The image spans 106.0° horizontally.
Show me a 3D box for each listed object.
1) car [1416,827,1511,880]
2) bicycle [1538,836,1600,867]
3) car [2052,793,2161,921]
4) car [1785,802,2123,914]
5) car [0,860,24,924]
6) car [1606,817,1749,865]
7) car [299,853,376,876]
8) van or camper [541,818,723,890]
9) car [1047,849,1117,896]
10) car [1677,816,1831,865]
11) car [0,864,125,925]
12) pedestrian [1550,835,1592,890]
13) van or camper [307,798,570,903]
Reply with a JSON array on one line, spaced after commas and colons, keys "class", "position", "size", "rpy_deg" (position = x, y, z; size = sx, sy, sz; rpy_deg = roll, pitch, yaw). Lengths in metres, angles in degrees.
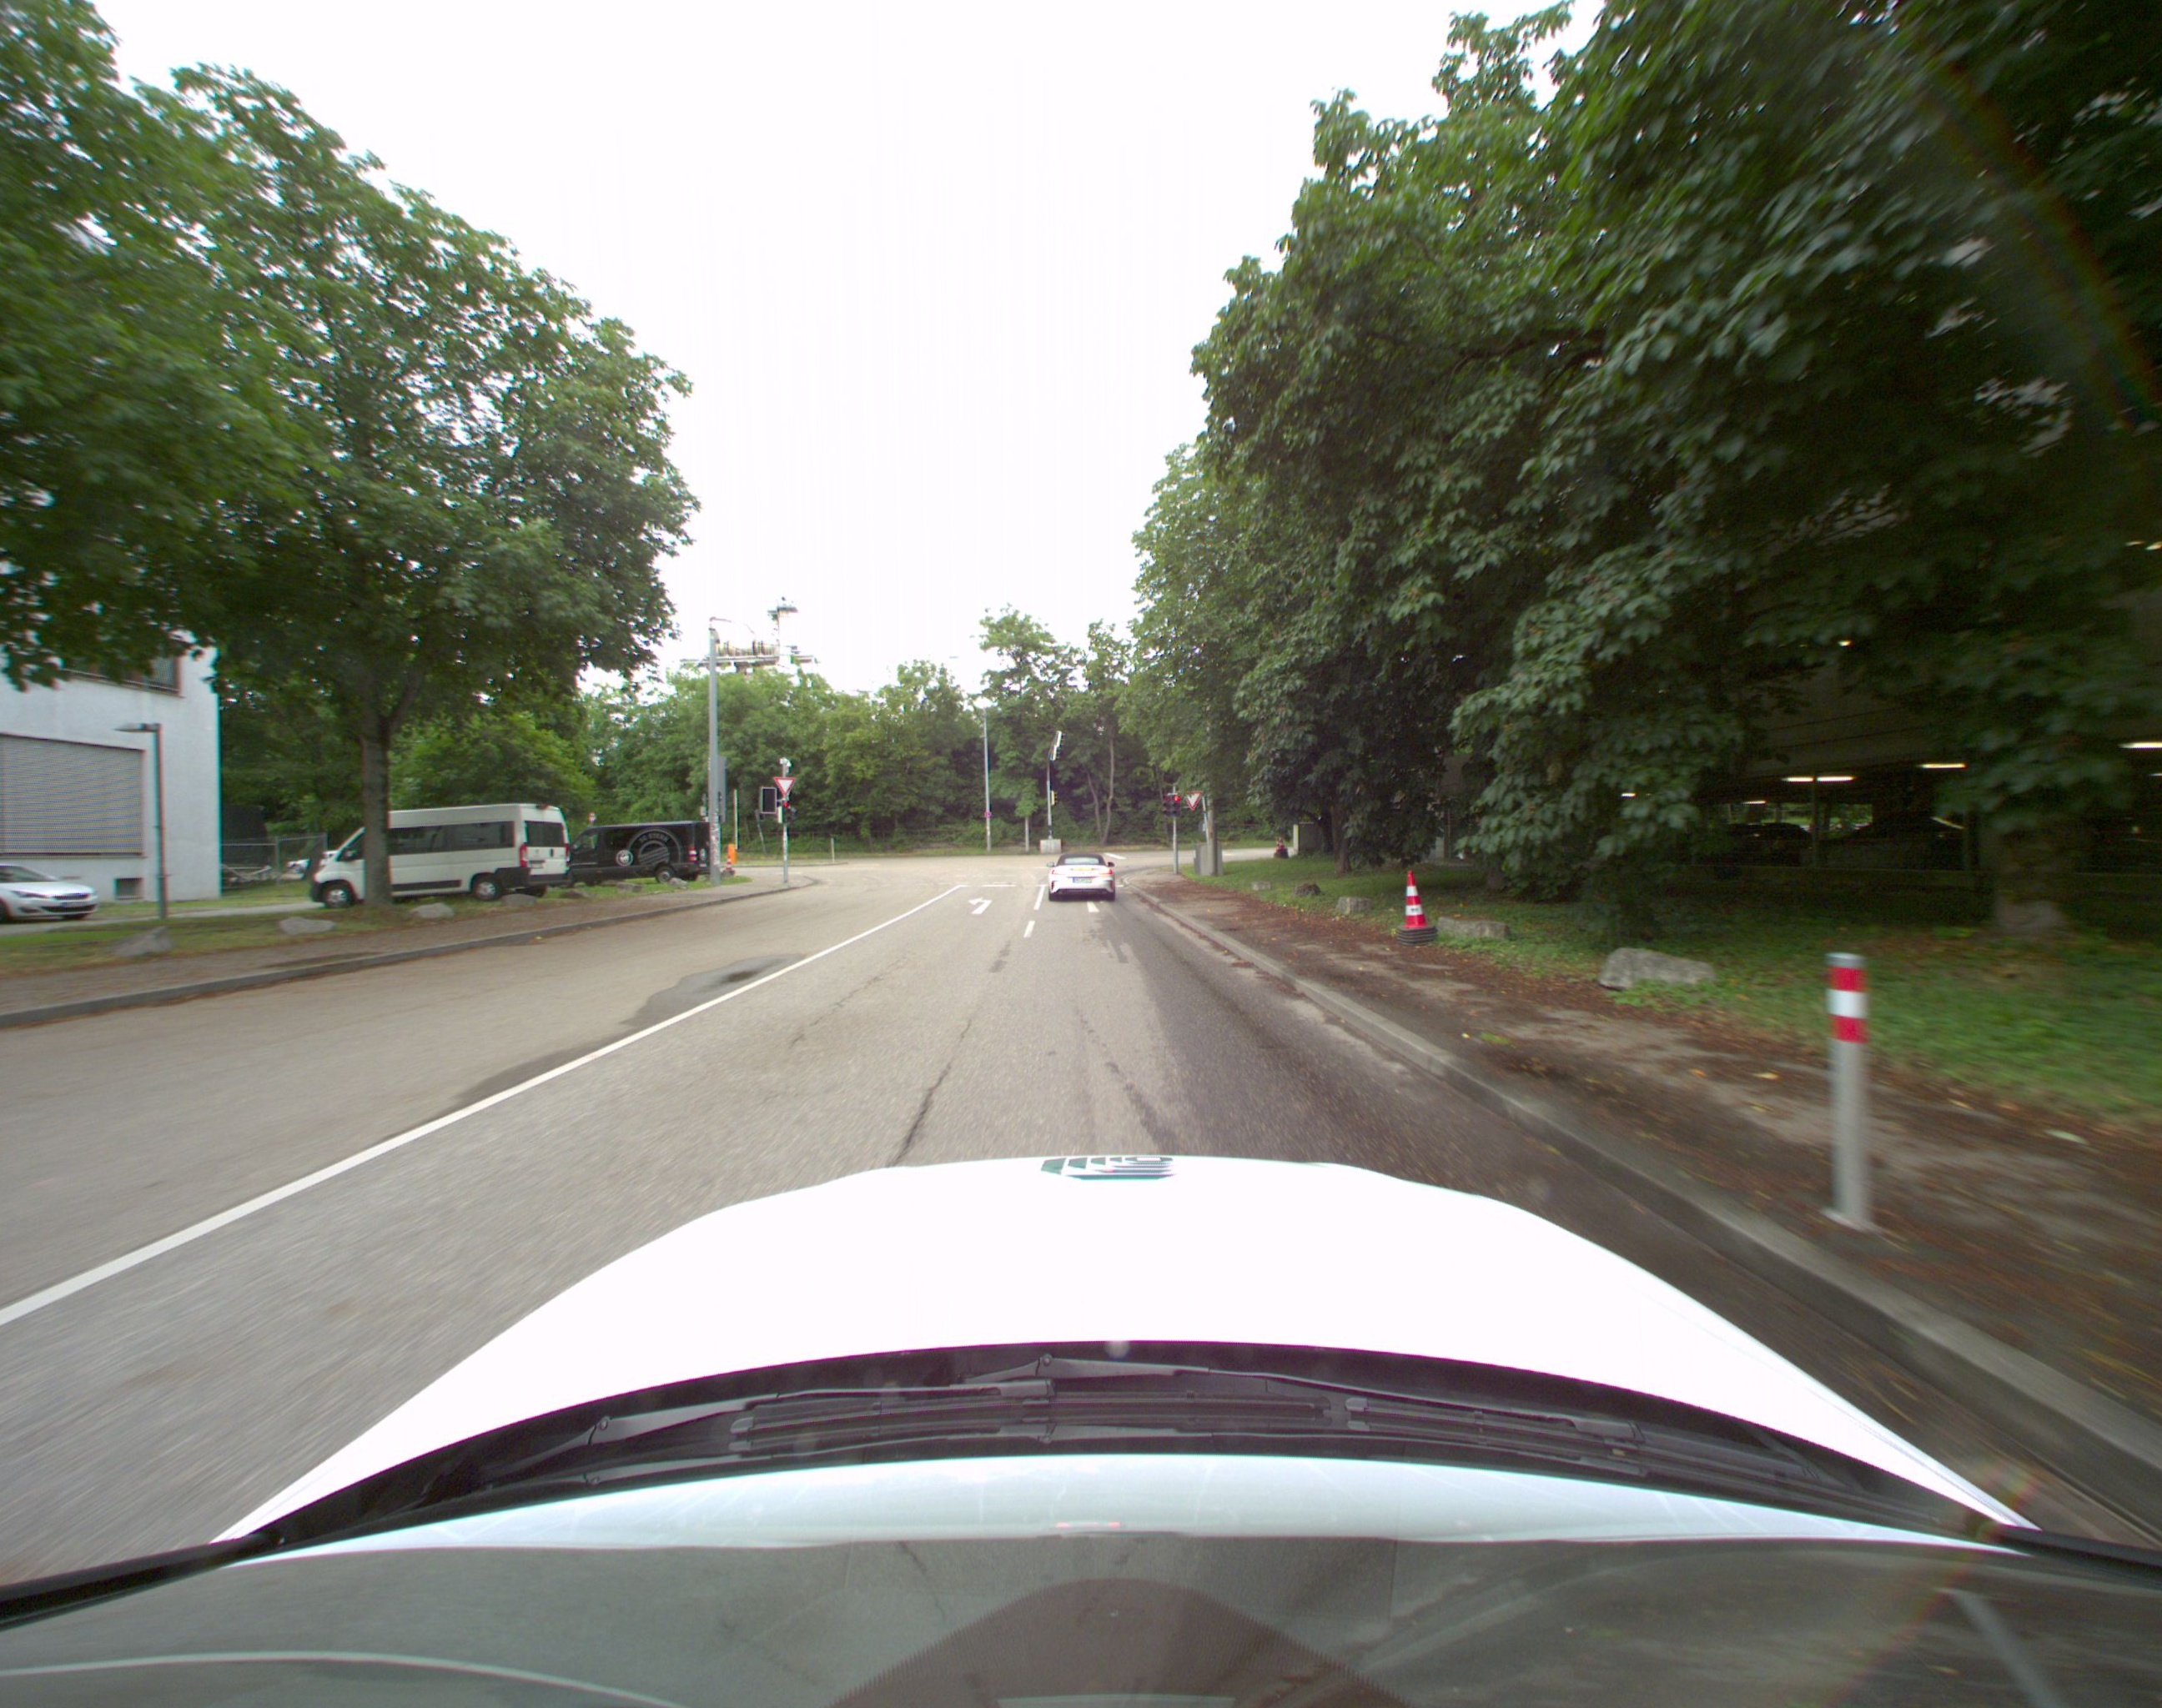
[{"class": "car", "position": [13.177, -0.002, 28.297], "size": [1.476, 1.708, 3.717], "rpy_deg": [0, -1, -1]}, {"class": "bicycle", "position": [11.901, -0.056, 19.908], "size": [0.446, 0.736, 1.491], "rpy_deg": [0, -1, -9]}, {"class": "car", "position": [18.058, 0.034, 12.305], "size": [1.987, 2.014, 3.999], "rpy_deg": [0, -1, 0]}, {"class": "car", "position": [17.831, 0.102, 17.080], "size": [1.988, 2.014, 4.671], "rpy_deg": [0, -1, -2]}, {"class": "car", "position": [-26.593, 0.869, 17.833], "size": [3.993, 1.456, 1.896], "rpy_deg": [0, -1, -7]}, {"class": "car", "position": [20.597, -0.392, 28.358], "size": [1.988, 1.552, 3.997], "rpy_deg": [0, -1, -1]}, {"class": "car", "position": [-46.598, 0.637, 51.080], "size": [3.294, 1.421, 1.498], "rpy_deg": [0, -1, -3]}, {"class": "van or camper", "position": [-16.664, -0.003, 30.409], "size": [5.518, 2.313, 2.061], "rpy_deg": [-3, -1, -1]}, {"class": "car", "position": [-0.045, 0.530, 23.899], "size": [1.824, 1.257, 3.995], "rpy_deg": [0, -1, -3]}, {"class": "car", "position": [23.056, -0.407, 28.125], "size": [1.988, 1.552, 3.997], "rpy_deg": [0, -1, -1]}, {"class": "car", "position": [-26.937, 0.980, 20.144], "size": [3.993, 1.456, 1.896], "rpy_deg": [0, -1, -7]}, {"class": "pedestrian", "position": [11.975, 0.199, 19.916], "size": [0.639, 1.317, 0.636], "rpy_deg": [0, -1, -2]}, {"class": "van or camper", "position": [-16.380, -0.081, 21.013], "size": [4.960, 2.570, 2.059], "rpy_deg": [0, -1, -4]}]
